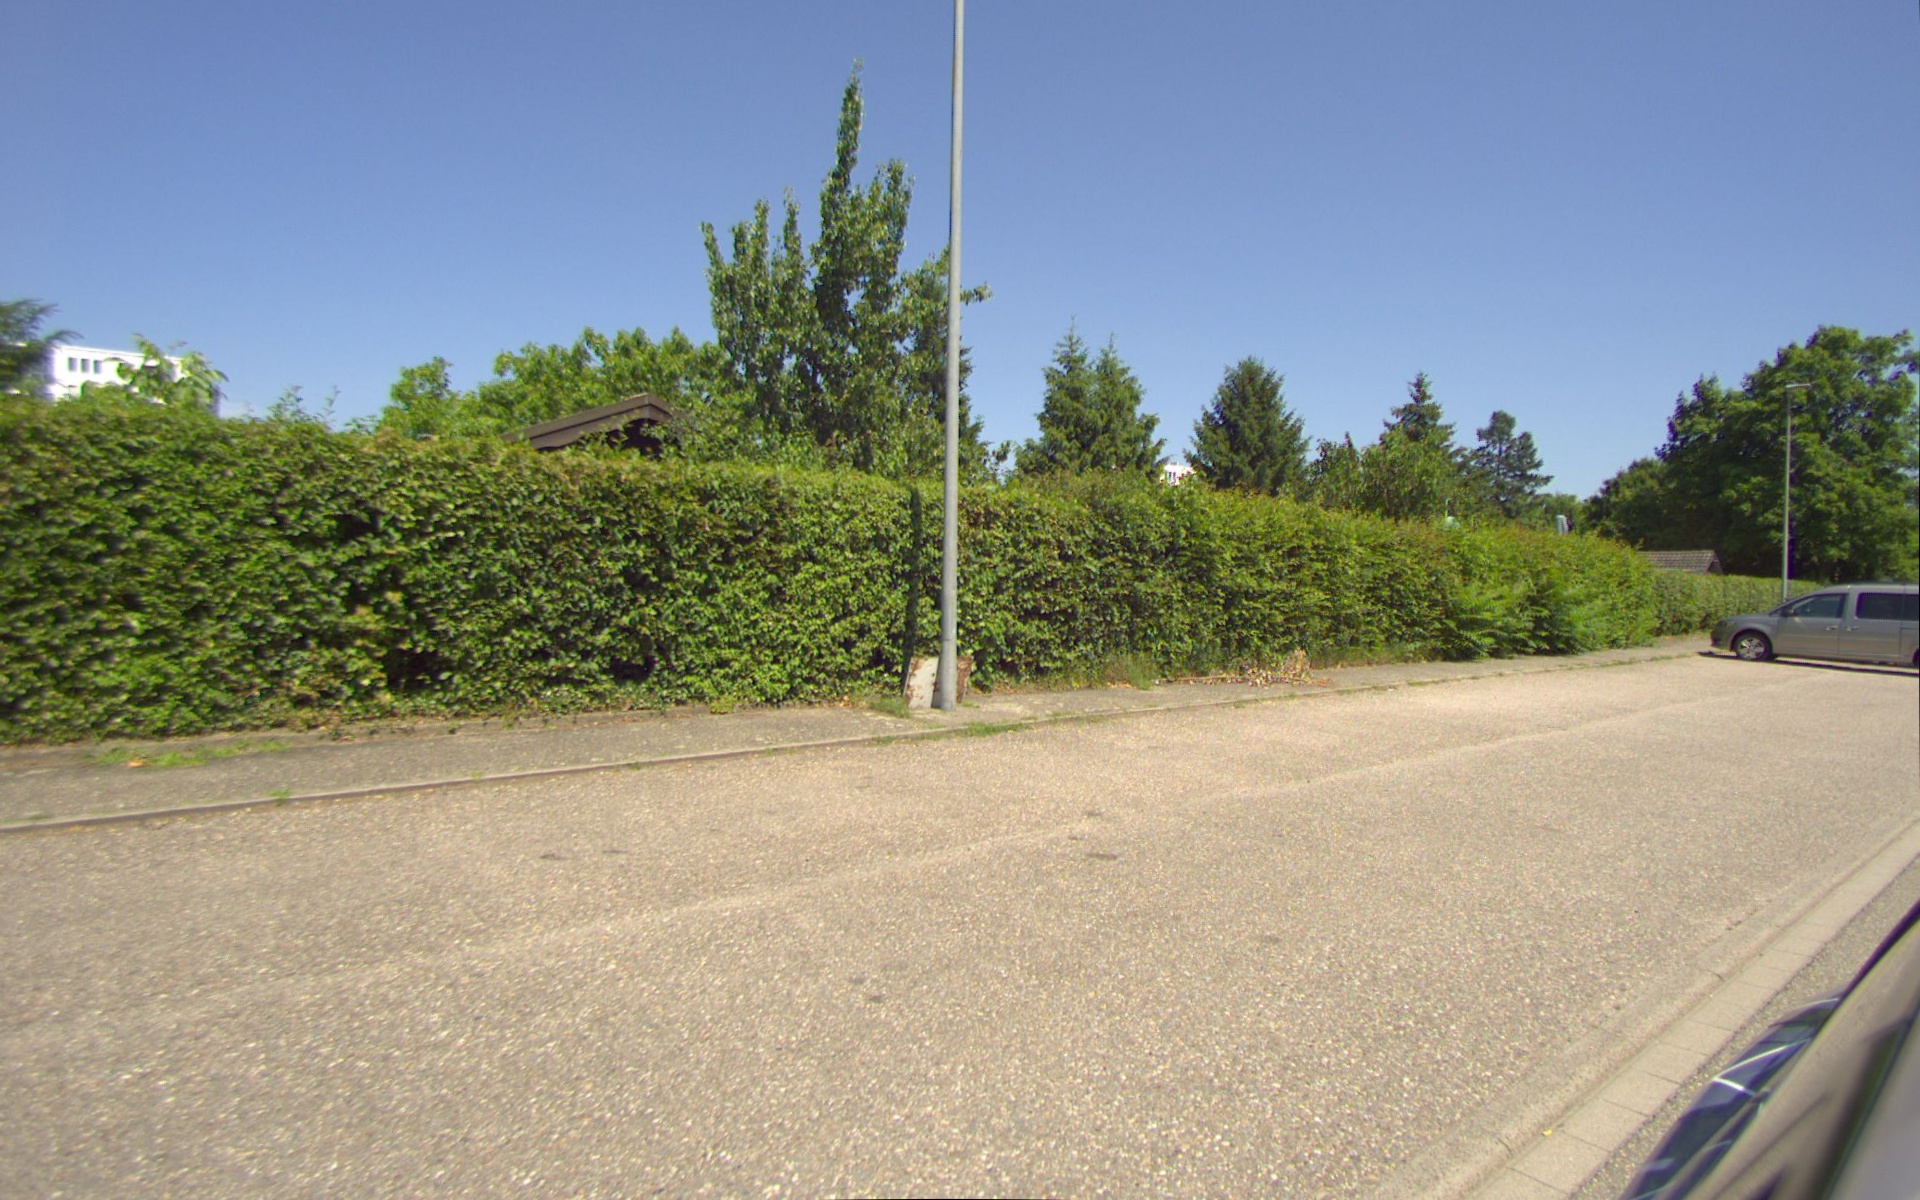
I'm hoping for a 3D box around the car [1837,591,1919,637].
[{"bbox_3d":[34.115,0.559,35.732,1.929,1.456,4.563,0,4,-45],"label":"car"}]

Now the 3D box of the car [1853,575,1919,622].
[{"bbox_3d":[37.604,0.017,39.169,1.821,1.719,4.268,0,4,-40],"label":"car"}]

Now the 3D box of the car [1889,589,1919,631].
[{"bbox_3d":[41.884,0.568,42.112,1.881,1.724,4.480,0,4,-42],"label":"car"}]

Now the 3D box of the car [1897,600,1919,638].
[{"bbox_3d":[39.945,0.785,40.095,1.800,1.470,4.003,0,1,-42],"label":"car"}]

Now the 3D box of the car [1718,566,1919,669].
[{"bbox_3d":[19.120,0.357,21.321,1.960,1.870,4.633,1,4,-40],"label":"car"}]
